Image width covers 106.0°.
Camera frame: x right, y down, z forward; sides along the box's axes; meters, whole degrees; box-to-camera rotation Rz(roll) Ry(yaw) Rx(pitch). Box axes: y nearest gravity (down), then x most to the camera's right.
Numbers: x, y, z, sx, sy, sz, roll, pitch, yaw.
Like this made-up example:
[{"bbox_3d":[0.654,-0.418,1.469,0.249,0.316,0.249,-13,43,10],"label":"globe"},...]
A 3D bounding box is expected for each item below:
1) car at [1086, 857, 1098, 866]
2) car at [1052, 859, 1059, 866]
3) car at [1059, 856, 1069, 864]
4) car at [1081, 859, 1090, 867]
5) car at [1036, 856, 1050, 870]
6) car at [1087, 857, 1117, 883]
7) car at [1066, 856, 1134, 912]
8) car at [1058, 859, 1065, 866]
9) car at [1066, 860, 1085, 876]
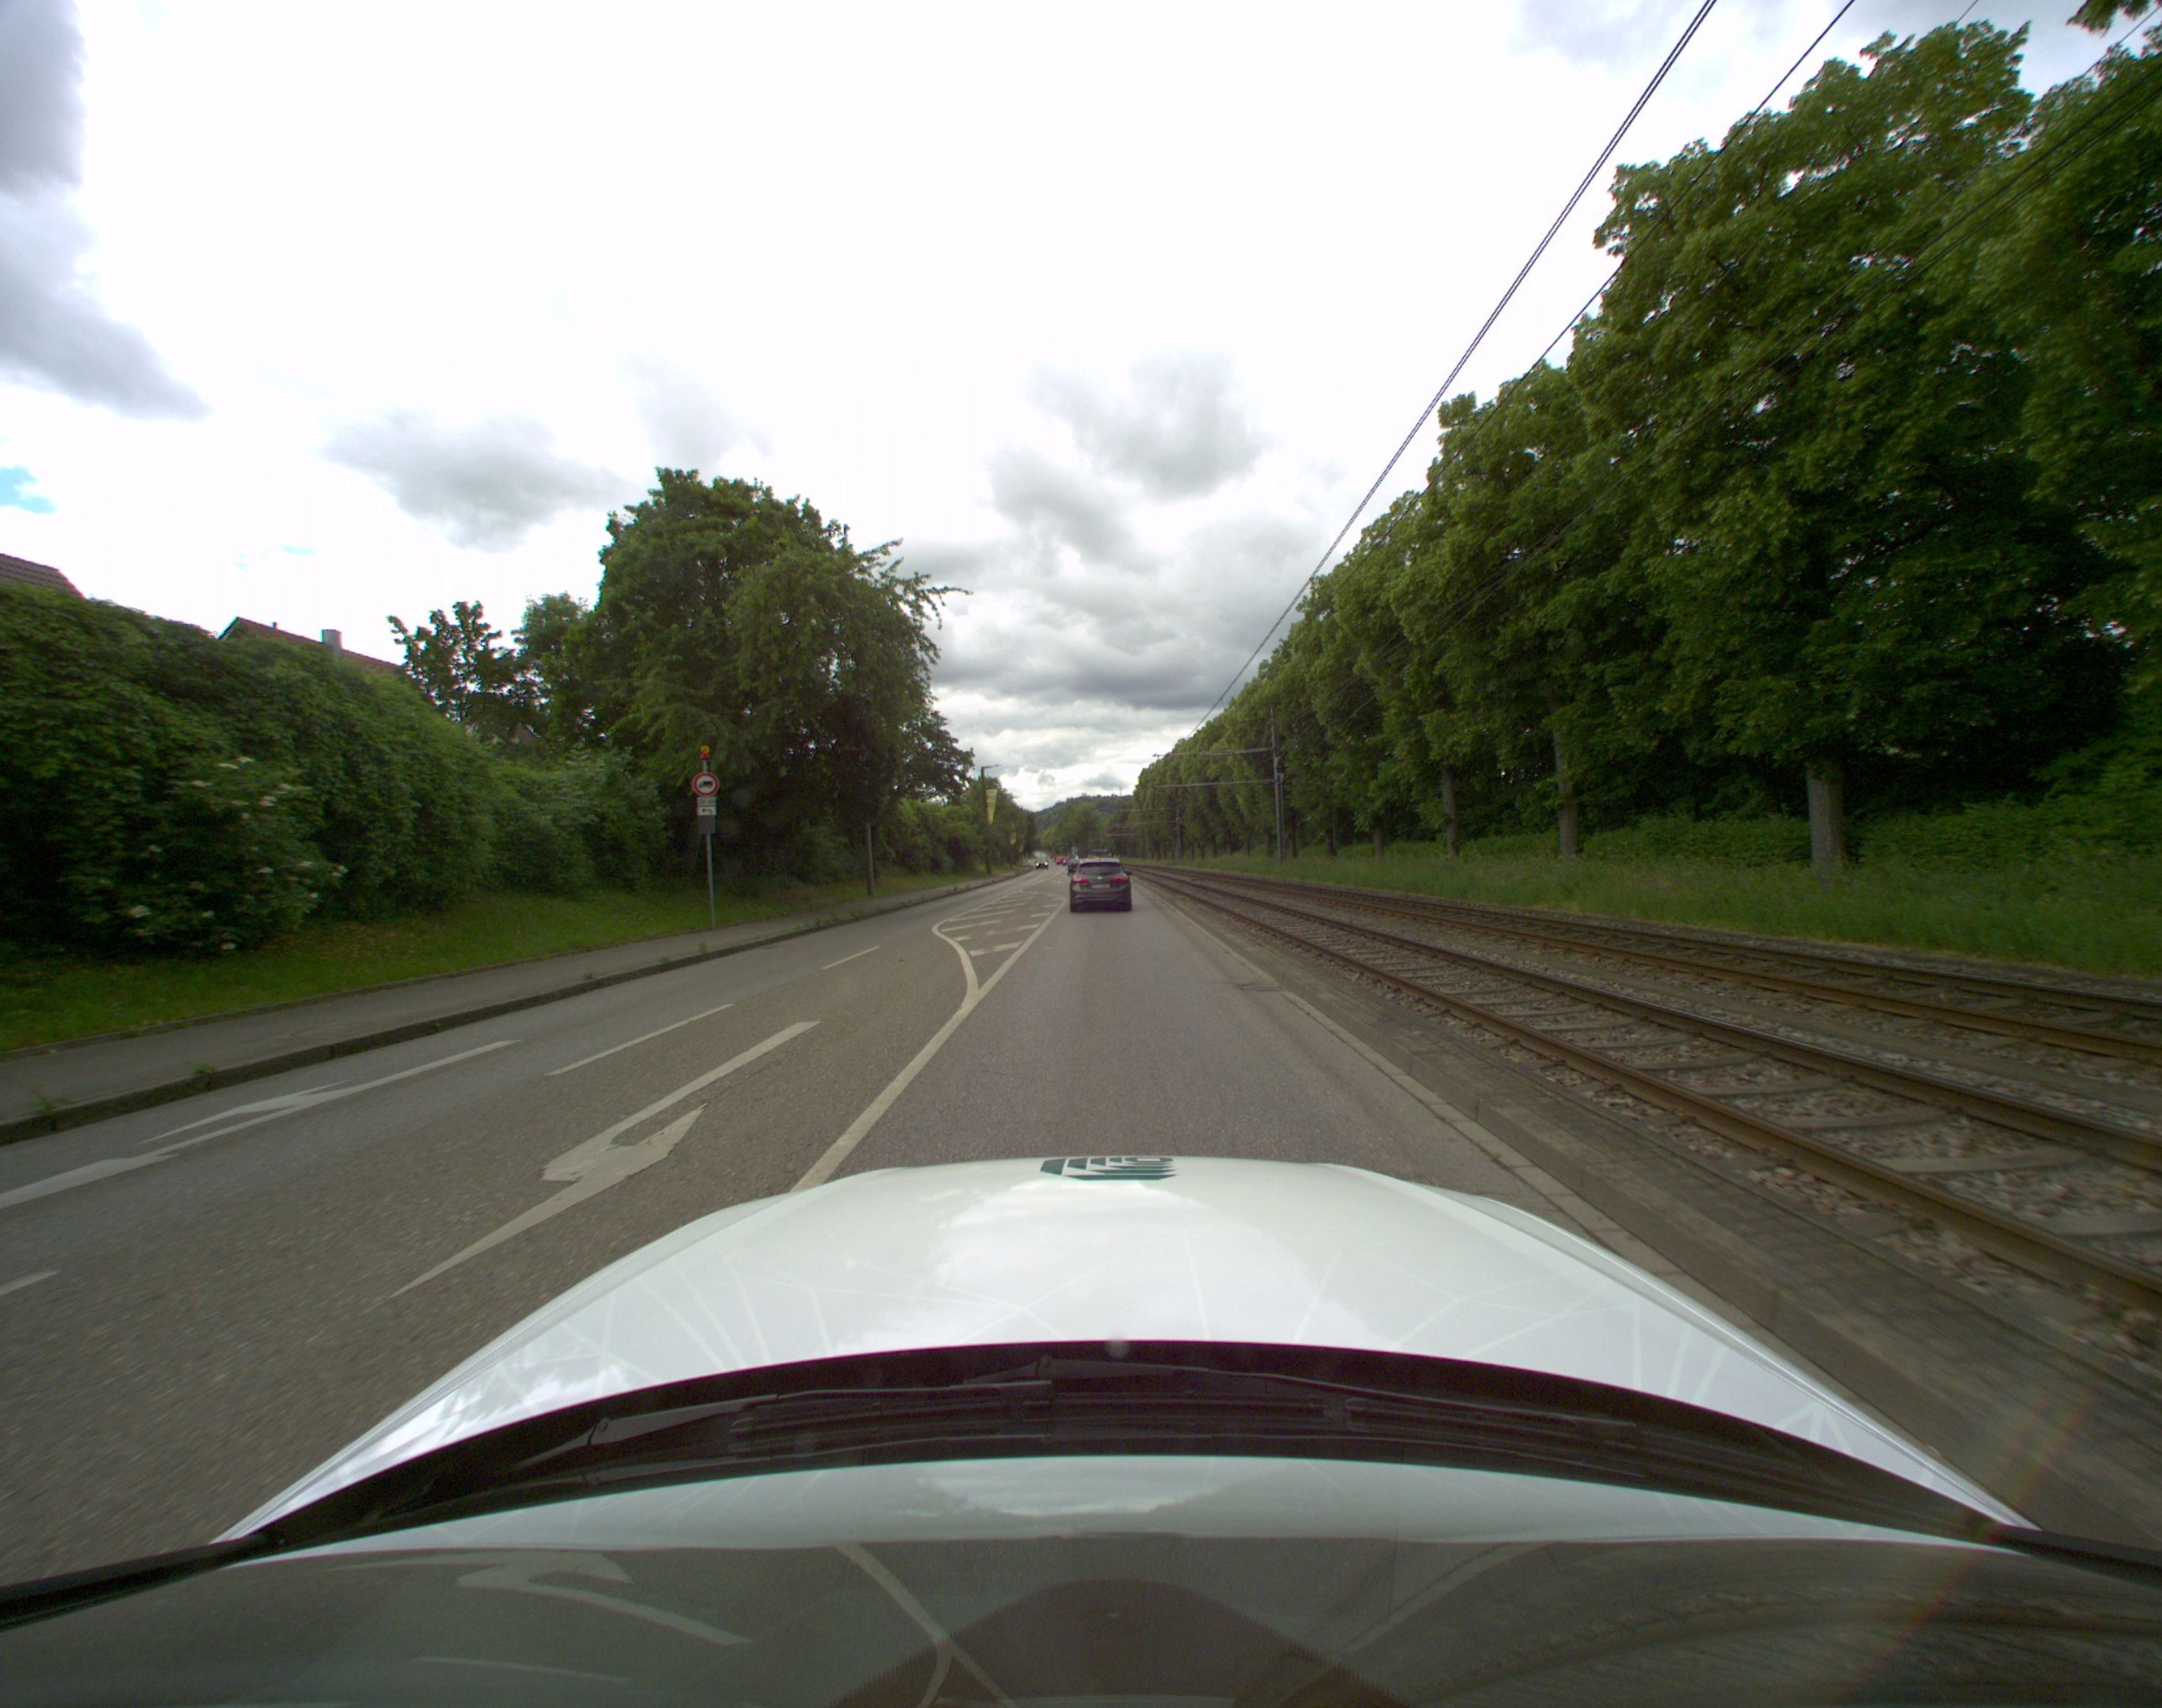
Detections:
[{"bbox_3d":[1.763,1.210,129.971,1.693,1.443,4.001,-2,0,1],"label":"car"},{"bbox_3d":[-6.905,2.229,219.048,1.693,1.714,4.001,-2,0,1],"label":"car"},{"bbox_3d":[-3.374,1.179,166.169,1.788,1.510,4.001,-2,0,1],"label":"car"},{"bbox_3d":[0.903,1.920,171.587,1.710,1.550,3.999,-2,-1,0],"label":"car"},{"bbox_3d":[-6.177,1.479,131.933,1.988,2.036,5.113,-4,0,-1],"label":"car"},{"bbox_3d":[1.220,0.916,48.890,1.694,1.443,4.000,-2,0,0],"label":"car"},{"bbox_3d":[0.597,0.846,24.456,1.843,1.493,4.002,-2,0,2],"label":"car"},{"bbox_3d":[-4.953,2.268,209.192,1.693,1.714,4.001,-2,0,1],"label":"car"},{"bbox_3d":[-0.525,1.334,79.971,1.693,1.443,4.002,-2,0,2],"label":"car"}]
